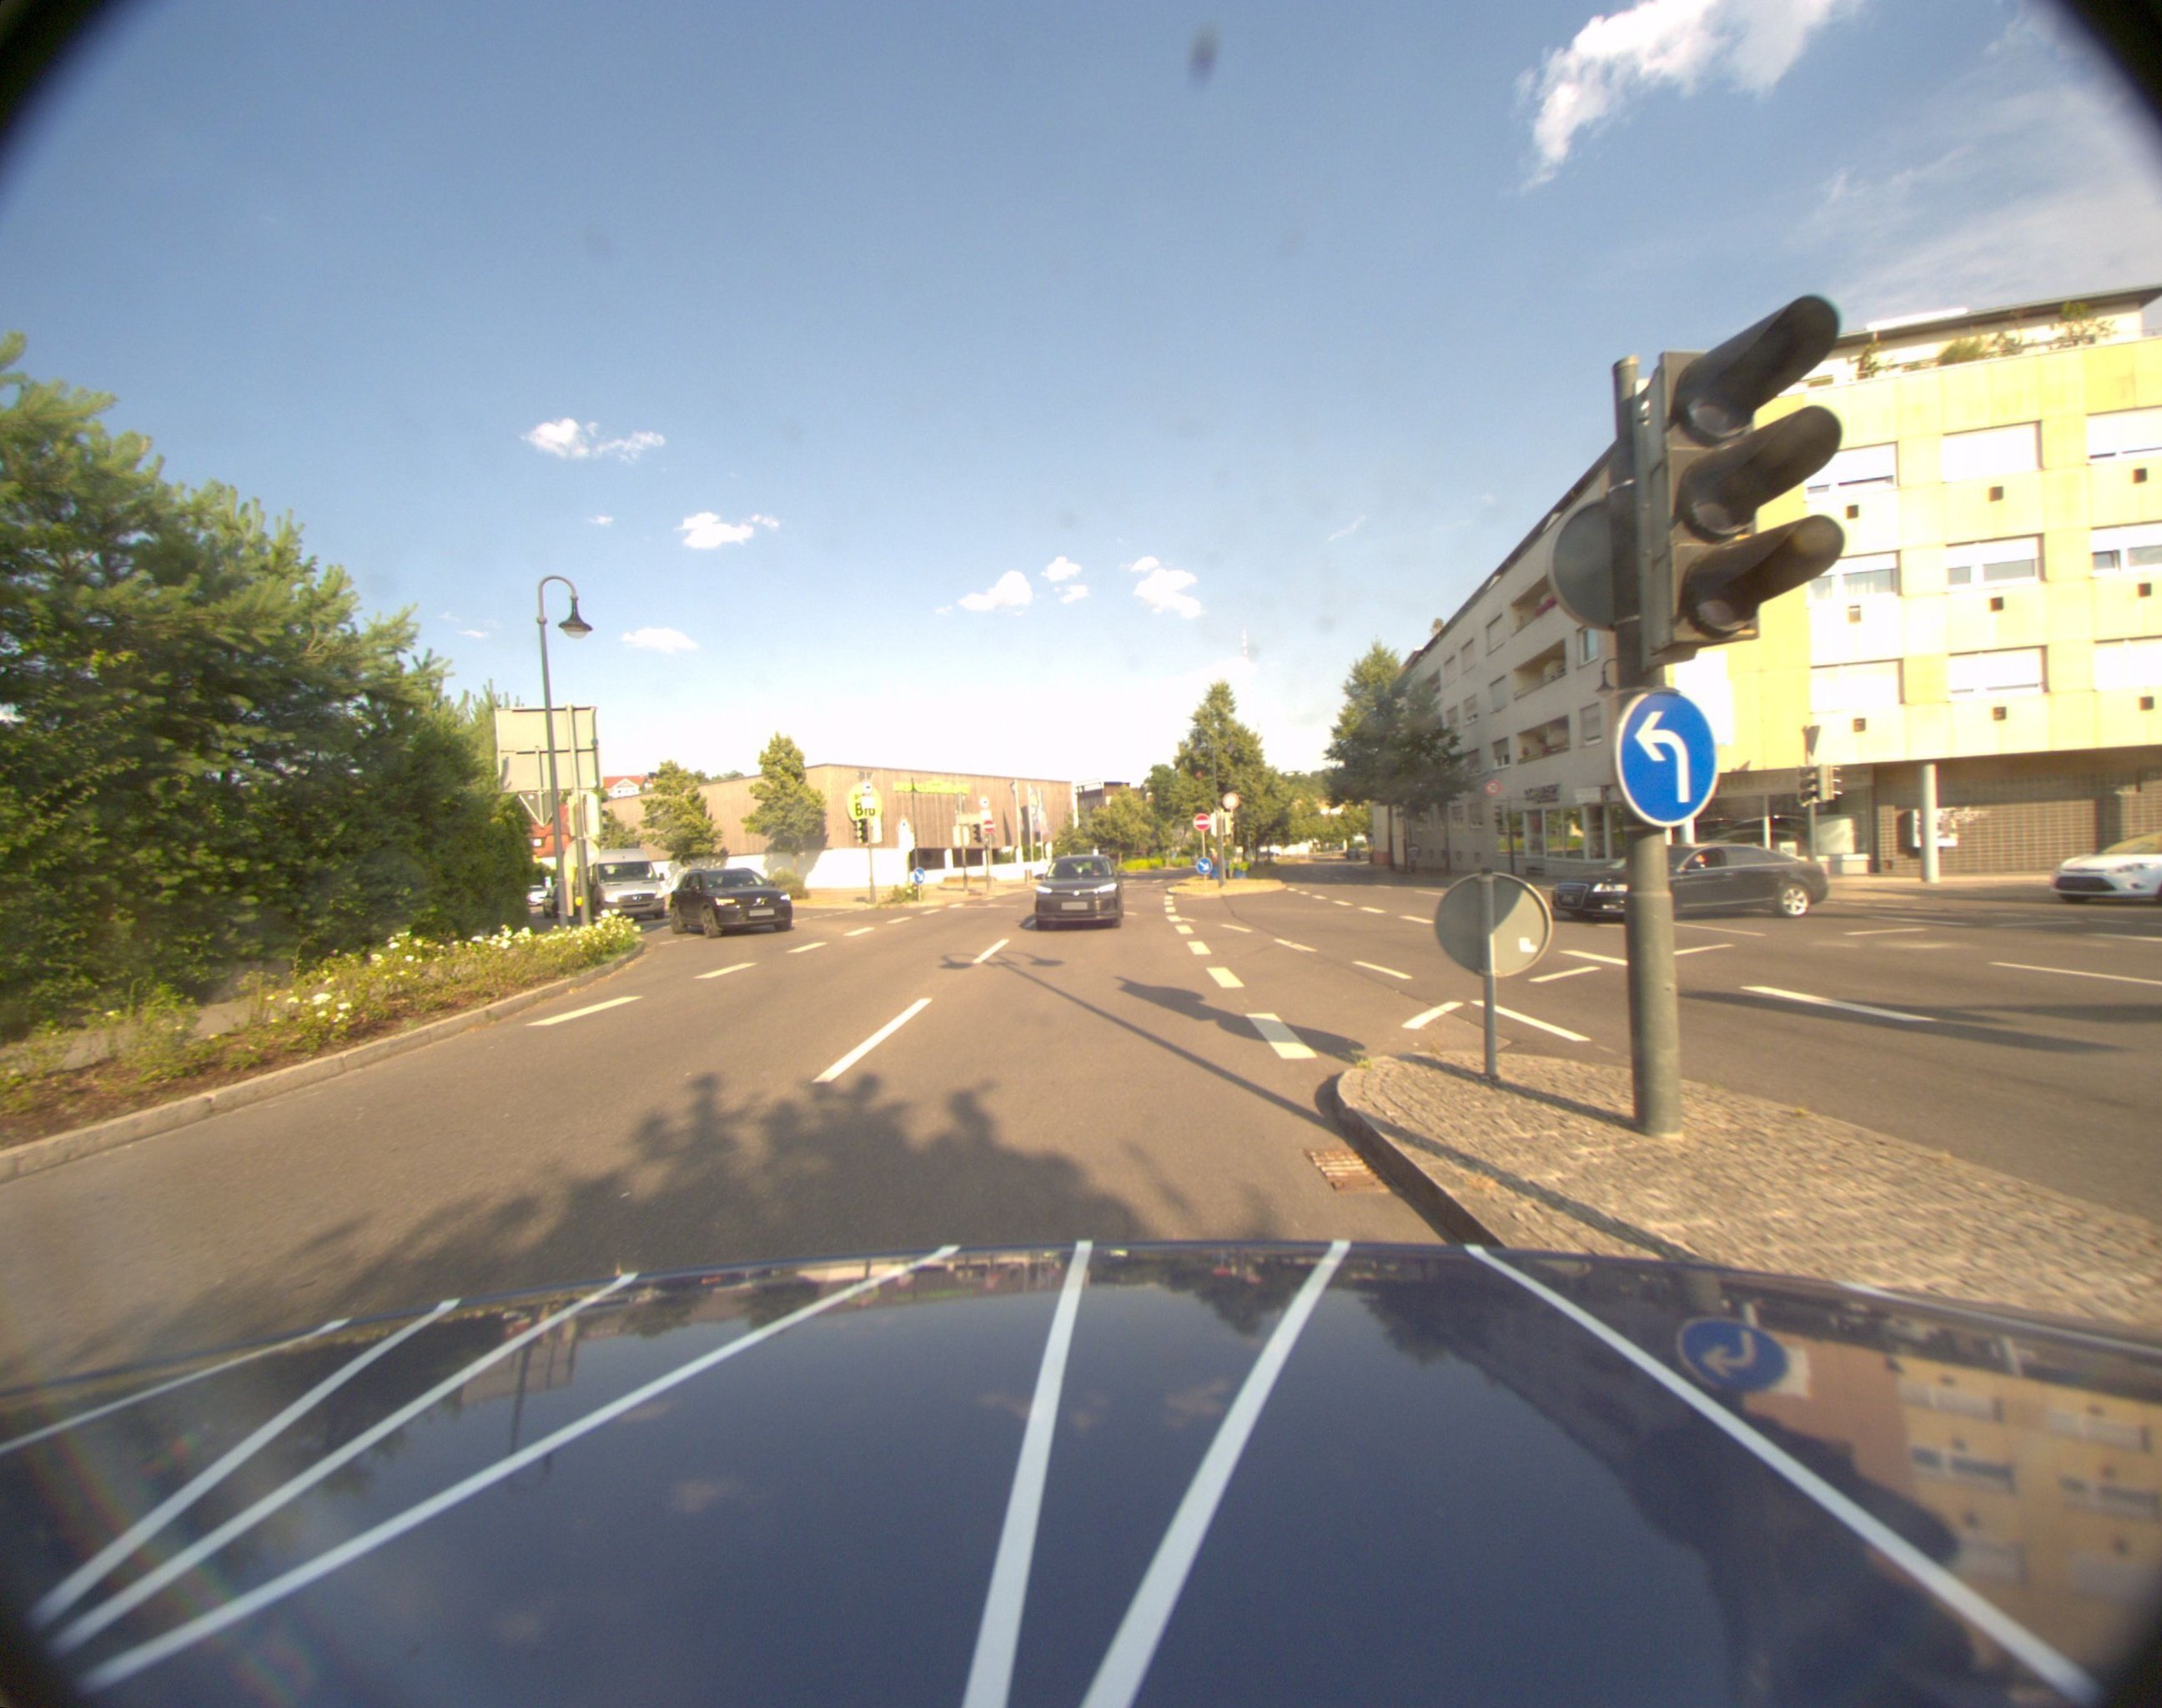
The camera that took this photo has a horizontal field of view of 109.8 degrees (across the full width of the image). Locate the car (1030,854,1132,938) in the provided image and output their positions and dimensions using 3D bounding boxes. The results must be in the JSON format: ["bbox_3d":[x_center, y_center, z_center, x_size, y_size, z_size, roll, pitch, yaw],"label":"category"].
[{"bbox_3d":[0.129,0.854,17.486,1.724,1.605,4.263,-1,1,8],"label":"car"}]

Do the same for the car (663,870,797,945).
[{"bbox_3d":[-8.708,1.212,18.659,1.796,1.558,4.259,-2,0,-42],"label":"car"}]

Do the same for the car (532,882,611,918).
[{"bbox_3d":[-23.068,2.036,34.350,3.989,1.444,1.862,-2,0,40],"label":"car"}]

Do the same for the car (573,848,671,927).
[{"bbox_3d":[-16.694,1.142,27.469,2.198,2.507,5.845,-2,0,-39],"label":"car"}]

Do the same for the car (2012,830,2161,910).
[{"bbox_3d":[21.095,0.257,14.641,3.821,1.428,1.868,-1,1,5],"label":"car"}]

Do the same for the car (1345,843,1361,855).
[{"bbox_3d":[41.394,-0.797,115.707,1.854,1.726,4.930,-1,1,25],"label":"car"}]

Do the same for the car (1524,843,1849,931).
[{"bbox_3d":[11.397,0.574,14.501,4.873,1.428,1.916,-1,1,-5],"label":"car"}]
